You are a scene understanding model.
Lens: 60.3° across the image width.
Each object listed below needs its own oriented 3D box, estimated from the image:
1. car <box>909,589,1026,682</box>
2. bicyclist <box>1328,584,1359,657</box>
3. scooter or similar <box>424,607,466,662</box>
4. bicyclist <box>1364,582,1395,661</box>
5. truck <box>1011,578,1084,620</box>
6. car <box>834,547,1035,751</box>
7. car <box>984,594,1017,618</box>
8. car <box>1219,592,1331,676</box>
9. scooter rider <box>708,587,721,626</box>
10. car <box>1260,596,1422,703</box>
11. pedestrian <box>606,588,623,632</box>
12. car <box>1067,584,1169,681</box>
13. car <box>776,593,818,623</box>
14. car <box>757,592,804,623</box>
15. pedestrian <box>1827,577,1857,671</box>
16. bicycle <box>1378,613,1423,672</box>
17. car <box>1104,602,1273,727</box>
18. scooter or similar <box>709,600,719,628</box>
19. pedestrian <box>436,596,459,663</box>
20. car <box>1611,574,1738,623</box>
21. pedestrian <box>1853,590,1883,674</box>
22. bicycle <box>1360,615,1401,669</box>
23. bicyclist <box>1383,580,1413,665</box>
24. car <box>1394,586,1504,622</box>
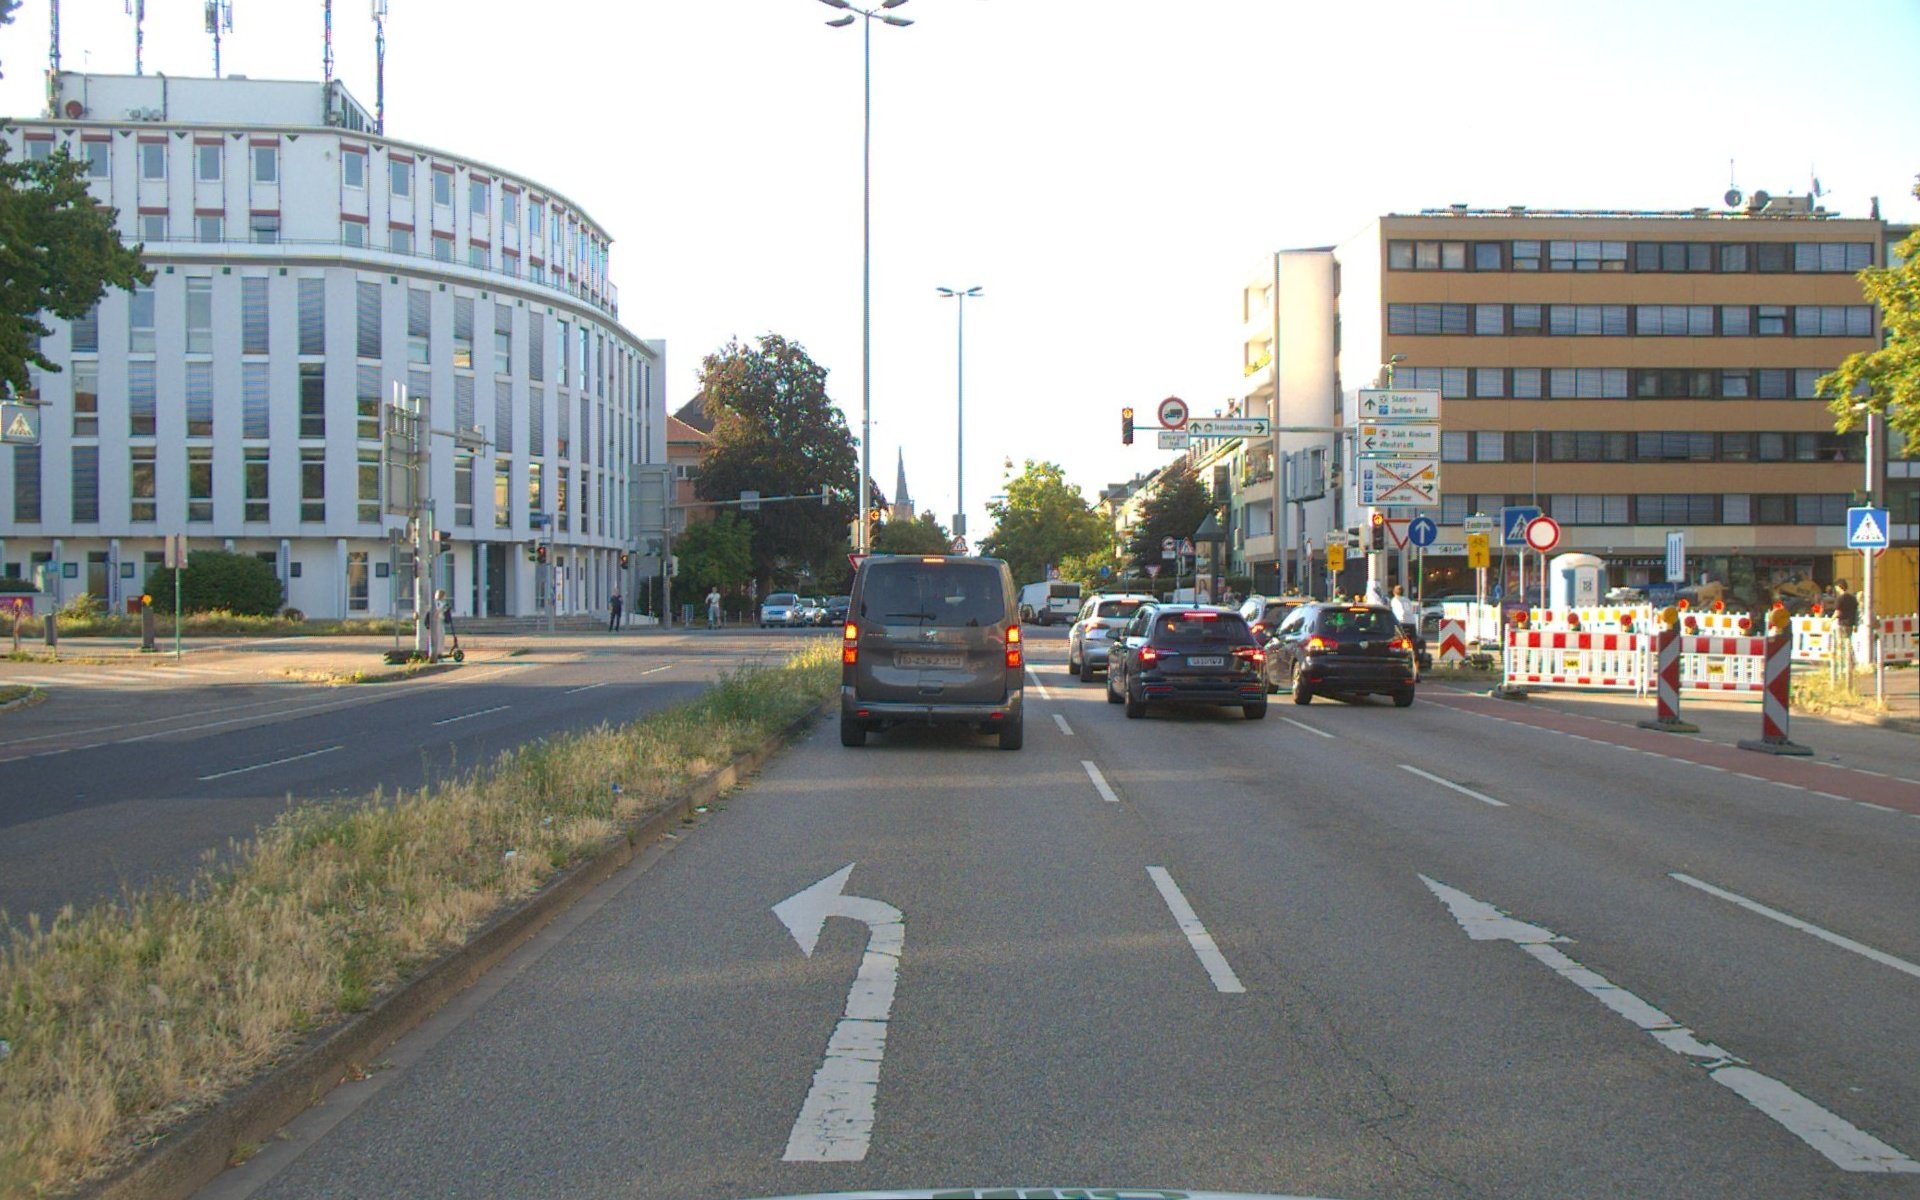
[{"bbox_3d":[0.133,0.582,29.806,1.953,1.557,4.000,0,0,0],"label":"car"},{"bbox_3d":[8.307,0.443,35.805,0.502,1.552,0.725,0,0,0],"label":"bicyclist"},{"bbox_3d":[-11.865,0.782,38.084,0.877,1.255,0.370,0,0,-11],"label":"scooter or similar"},{"bbox_3d":[8.330,0.427,32.869,0.432,1.552,0.725,0,0,0],"label":"bicyclist"},{"bbox_3d":[4.567,-0.073,87.225,2.099,2.123,4.599,-1,0,-22],"label":"truck"},{"bbox_3d":[-0.236,0.453,17.938,1.868,1.896,4.526,1,0,0],"label":"car"},{"bbox_3d":[2.964,0.413,121.174,1.955,1.691,3.996,0,0,-5],"label":"car"},{"bbox_3d":[5.832,0.589,30.902,1.474,1.474,3.305,0,0,0],"label":"car"},{"bbox_3d":[-10.991,0.281,74.035,0.471,1.727,0.636,0,0,0],"label":"scooter rider"},{"bbox_3d":[5.731,0.694,25.263,1.600,1.474,3.745,1,0,0],"label":"car"},{"bbox_3d":[-13.963,0.400,66.841,0.615,1.752,0.669,0,0,-14],"label":"pedestrian"},{"bbox_3d":[2.847,0.557,30.441,1.497,1.641,3.745,1,0,0],"label":"car"},{"bbox_3d":[-8.202,0.403,83.591,1.818,1.445,3.999,0,0,-1],"label":"car"},{"bbox_3d":[-8.435,0.336,77.997,1.818,1.445,3.999,0,0,-1],"label":"car"},{"bbox_3d":[17.732,0.473,33.236,0.477,1.866,0.570,0,0,33],"label":"pedestrian"},{"bbox_3d":[8.145,0.770,30.648,0.329,1.025,1.856,0,0,0],"label":"bicycle"},{"bbox_3d":[2.938,0.778,22.001,1.647,1.446,4.214,1,0,0],"label":"car"},{"bbox_3d":[-10.985,0.617,73.960,0.279,1.209,1.169,0,0,0],"label":"scooter or similar"},{"bbox_3d":[-11.875,0.673,38.344,0.466,1.532,0.334,0,0,-12],"label":"pedestrian"},{"bbox_3d":[28.078,-0.058,65.046,4.129,1.849,2.000,0,0,0],"label":"car"},{"bbox_3d":[18.419,0.641,33.545,0.445,1.700,0.601,0,0,37],"label":"pedestrian"},{"bbox_3d":[8.324,0.819,32.787,0.329,1.025,1.856,0,0,0],"label":"bicycle"},{"bbox_3d":[8.131,0.410,30.711,0.432,1.552,0.482,0,0,0],"label":"bicyclist"},{"bbox_3d":[19.704,0.151,66.738,3.910,1.445,1.785,0,0,-6],"label":"car"}]
